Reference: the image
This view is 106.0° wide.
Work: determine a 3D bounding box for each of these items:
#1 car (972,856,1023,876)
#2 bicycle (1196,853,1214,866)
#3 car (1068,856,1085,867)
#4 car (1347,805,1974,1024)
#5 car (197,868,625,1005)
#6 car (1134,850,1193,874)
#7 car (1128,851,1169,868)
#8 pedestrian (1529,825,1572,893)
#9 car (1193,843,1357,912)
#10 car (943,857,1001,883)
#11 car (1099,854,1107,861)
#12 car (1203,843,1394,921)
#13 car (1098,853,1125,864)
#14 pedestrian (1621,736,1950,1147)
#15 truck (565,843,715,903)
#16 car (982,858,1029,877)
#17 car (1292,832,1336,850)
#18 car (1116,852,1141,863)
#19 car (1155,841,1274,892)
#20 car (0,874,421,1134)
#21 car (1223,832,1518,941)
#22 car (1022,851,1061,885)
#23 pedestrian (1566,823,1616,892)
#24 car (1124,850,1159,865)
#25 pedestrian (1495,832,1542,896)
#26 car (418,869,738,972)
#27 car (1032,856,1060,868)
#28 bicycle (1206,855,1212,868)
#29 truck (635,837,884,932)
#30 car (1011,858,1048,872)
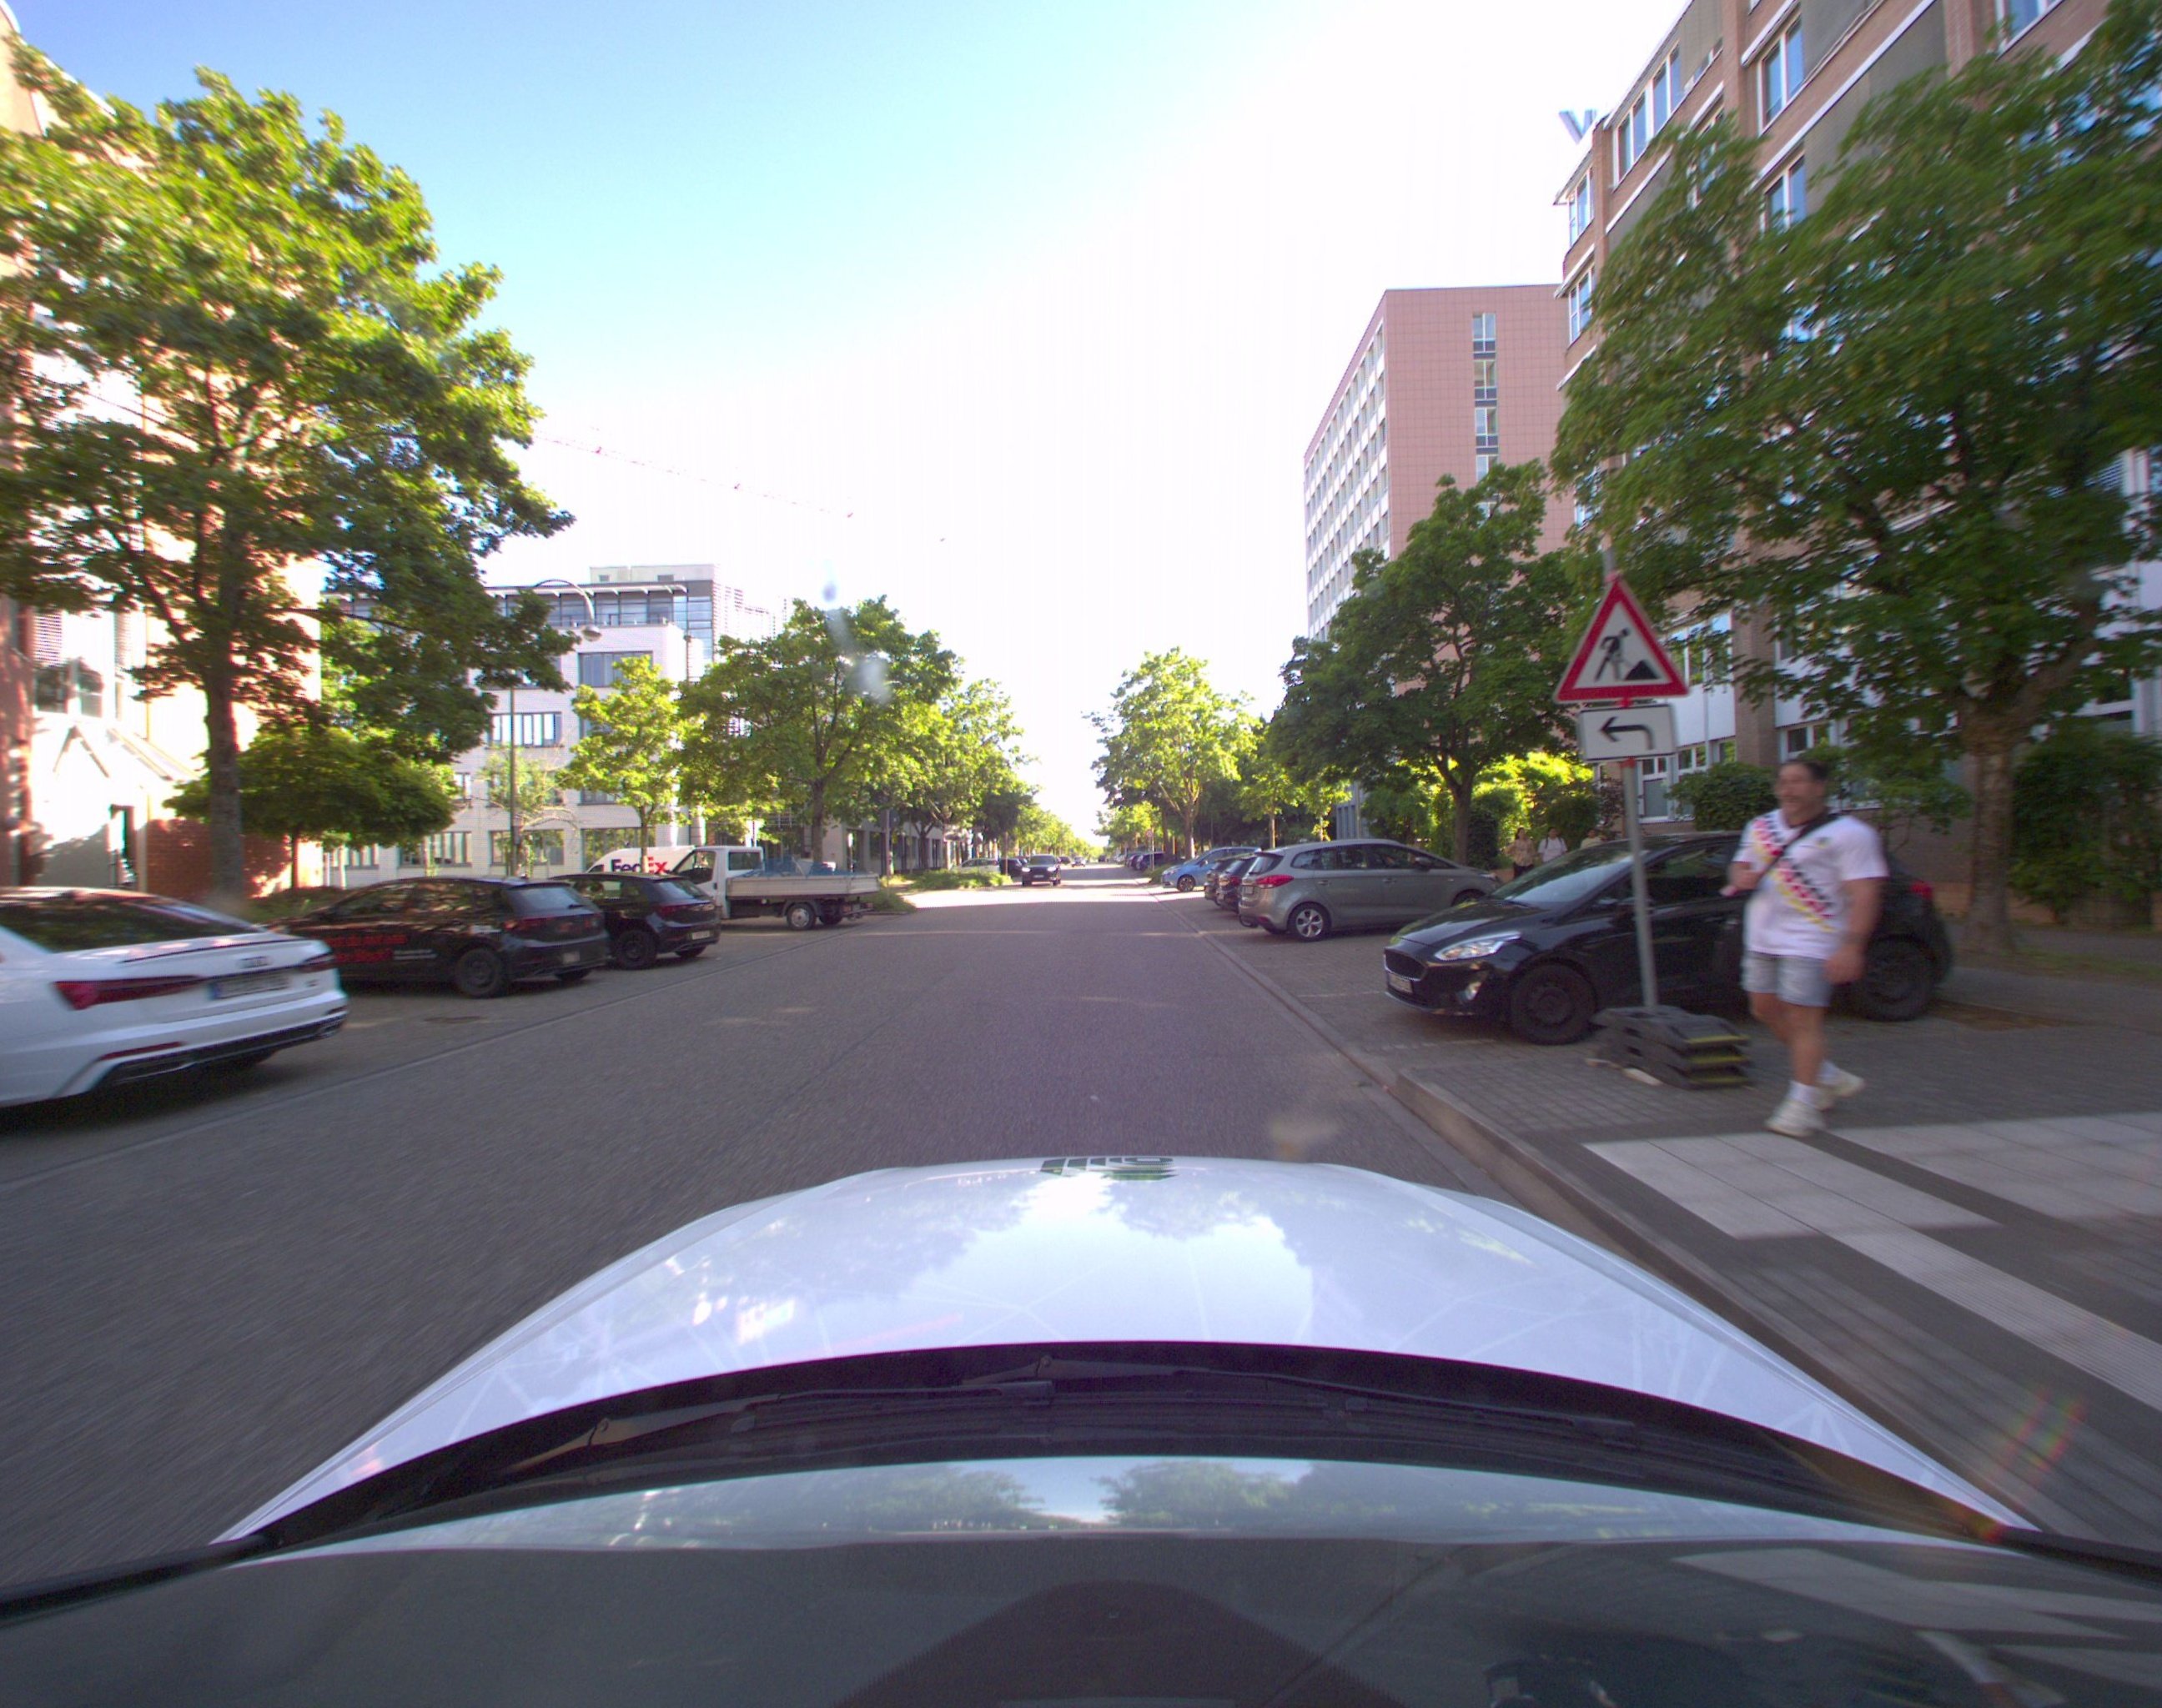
[{"bbox_3d":[-6.483,0.947,63.338,3.720,1.464,1.676,-1,0,0],"label":"car"},{"bbox_3d":[10.973,0.465,72.034,0.382,1.078,1.766,-1,-1,-40],"label":"bicycle"},{"bbox_3d":[-0.573,0.949,108.296,1.804,1.415,4.113,-1,0,5],"label":"car"},{"bbox_3d":[4.460,0.432,6.729,3.923,1.439,1.774,-2,0,-1],"label":"car"},{"bbox_3d":[-8.316,0.981,10.373,3.972,1.435,1.722,-2,0,1],"label":"car"},{"bbox_3d":[6.312,0.592,62.595,4.256,1.633,1.857,-2,0,-2],"label":"car"},{"bbox_3d":[6.754,0.550,81.885,4.029,1.491,1.550,-3,-1,1],"label":"car"},{"bbox_3d":[10.906,0.116,18.929,0.600,1.521,0.594,-2,0,-1],"label":"pedestrian"},{"bbox_3d":[5.029,0.583,21.501,3.833,1.483,1.825,-4,0,0],"label":"car"},{"bbox_3d":[-7.147,1.076,53.700,3.570,1.550,1.636,-1,-3,-1],"label":"car"},{"bbox_3d":[5.760,0.956,214.326,1.926,1.597,4.367,-2,0,1],"label":"car"},{"bbox_3d":[4.850,0.591,18.451,3.793,1.408,1.700,-4,0,-4],"label":"car"},{"bbox_3d":[4.747,0.698,127.302,3.979,1.624,1.997,-1,0,-4],"label":"car"},{"bbox_3d":[3.339,0.363,3.913,0.918,1.711,0.695,-5,0,-12],"label":"pedestrian"},{"bbox_3d":[-22.135,0.935,41.097,6.085,2.704,2.577,-2,0,-1],"label":"truck"},{"bbox_3d":[-6.290,1.148,67.964,3.720,1.464,1.676,-1,0,0],"label":"car"},{"bbox_3d":[24.506,-1.360,85.664,4.062,1.783,1.998,0,-1,-3],"label":"car"},{"bbox_3d":[7.820,0.594,133.835,3.979,1.792,1.997,-1,0,-4],"label":"car"},{"bbox_3d":[5.247,0.486,32.436,4.390,1.618,1.912,-4,0,0],"label":"car"},{"bbox_3d":[-7.653,0.897,5.673,4.527,1.442,1.890,0,0,-1],"label":"car"},{"bbox_3d":[4.834,0.509,13.991,4.345,1.597,1.936,-2,0,-5],"label":"car"},{"bbox_3d":[-2.068,0.709,43.674,1.886,1.684,4.351,-2,0,-1],"label":"car"},{"bbox_3d":[11.836,0.088,18.907,0.754,1.552,0.559,-2,0,-2],"label":"pedestrian"},{"bbox_3d":[6.935,0.380,93.856,3.880,1.656,1.858,-1,0,0],"label":"car"},{"bbox_3d":[10.139,0.234,18.903,0.698,1.458,0.715,0,0,-1],"label":"pedestrian"},{"bbox_3d":[-7.864,1.006,12.984,3.970,1.435,1.790,-1,-1,3],"label":"car"},{"bbox_3d":[-5.127,1.143,119.824,3.969,1.654,1.862,-2,0,3],"label":"car"},{"bbox_3d":[10.481,0.598,66.769,0.377,1.047,1.888,-3,0,7],"label":"bicycle"},{"bbox_3d":[-7.481,0.691,19.287,4.964,1.959,2.140,-2,0,3],"label":"truck"},{"bbox_3d":[-5.587,1.234,89.421,3.880,1.464,1.858,-1,0,0],"label":"car"}]
